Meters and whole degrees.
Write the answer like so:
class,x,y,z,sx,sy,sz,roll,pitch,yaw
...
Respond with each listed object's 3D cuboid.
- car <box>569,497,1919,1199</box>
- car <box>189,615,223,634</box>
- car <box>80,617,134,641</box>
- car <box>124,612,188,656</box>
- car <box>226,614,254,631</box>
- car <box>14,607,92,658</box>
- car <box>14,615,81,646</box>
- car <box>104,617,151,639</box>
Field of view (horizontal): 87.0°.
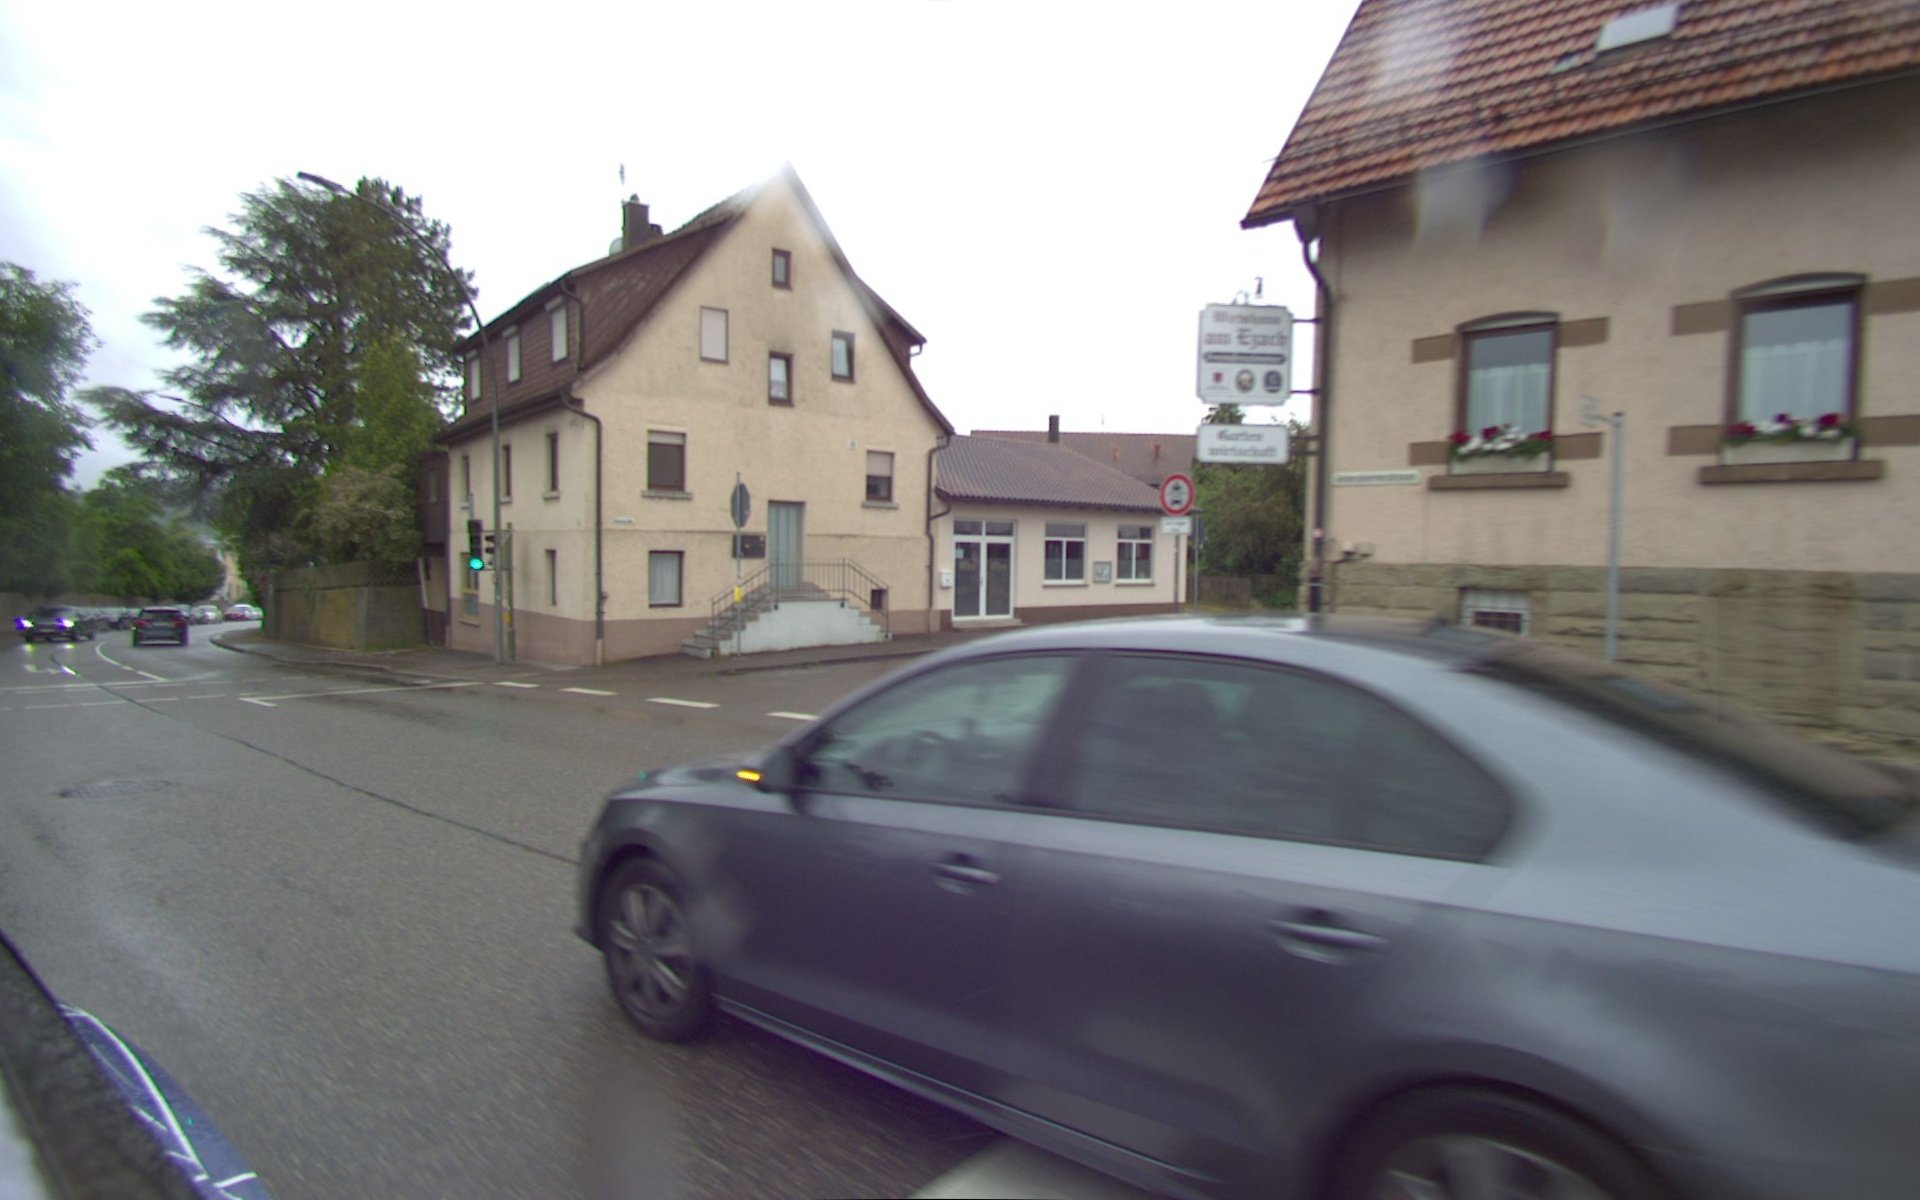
class,x,y,z,sx,sy,sz,roll,pitch,yaw
car,0.848,0.674,2.963,4.222,1.586,1.924,-1,-1,40
car,-67.973,2.199,91.250,1.803,1.642,4.167,1,-1,-27
car,-52.905,1.771,62.842,1.735,1.430,4.166,1,-1,-28
car,-33.014,1.354,41.562,1.968,1.719,4.007,0,-1,-39
car,-78.502,2.401,110.406,1.917,1.807,4.199,1,-1,-28
car,-39.828,1.368,44.556,1.966,2.029,4.011,-1,1,-34
car,-47.448,1.553,52.725,1.765,1.544,3.812,1,-1,-29
car,-55.500,1.846,67.523,1.735,1.430,4.166,1,-1,-30
